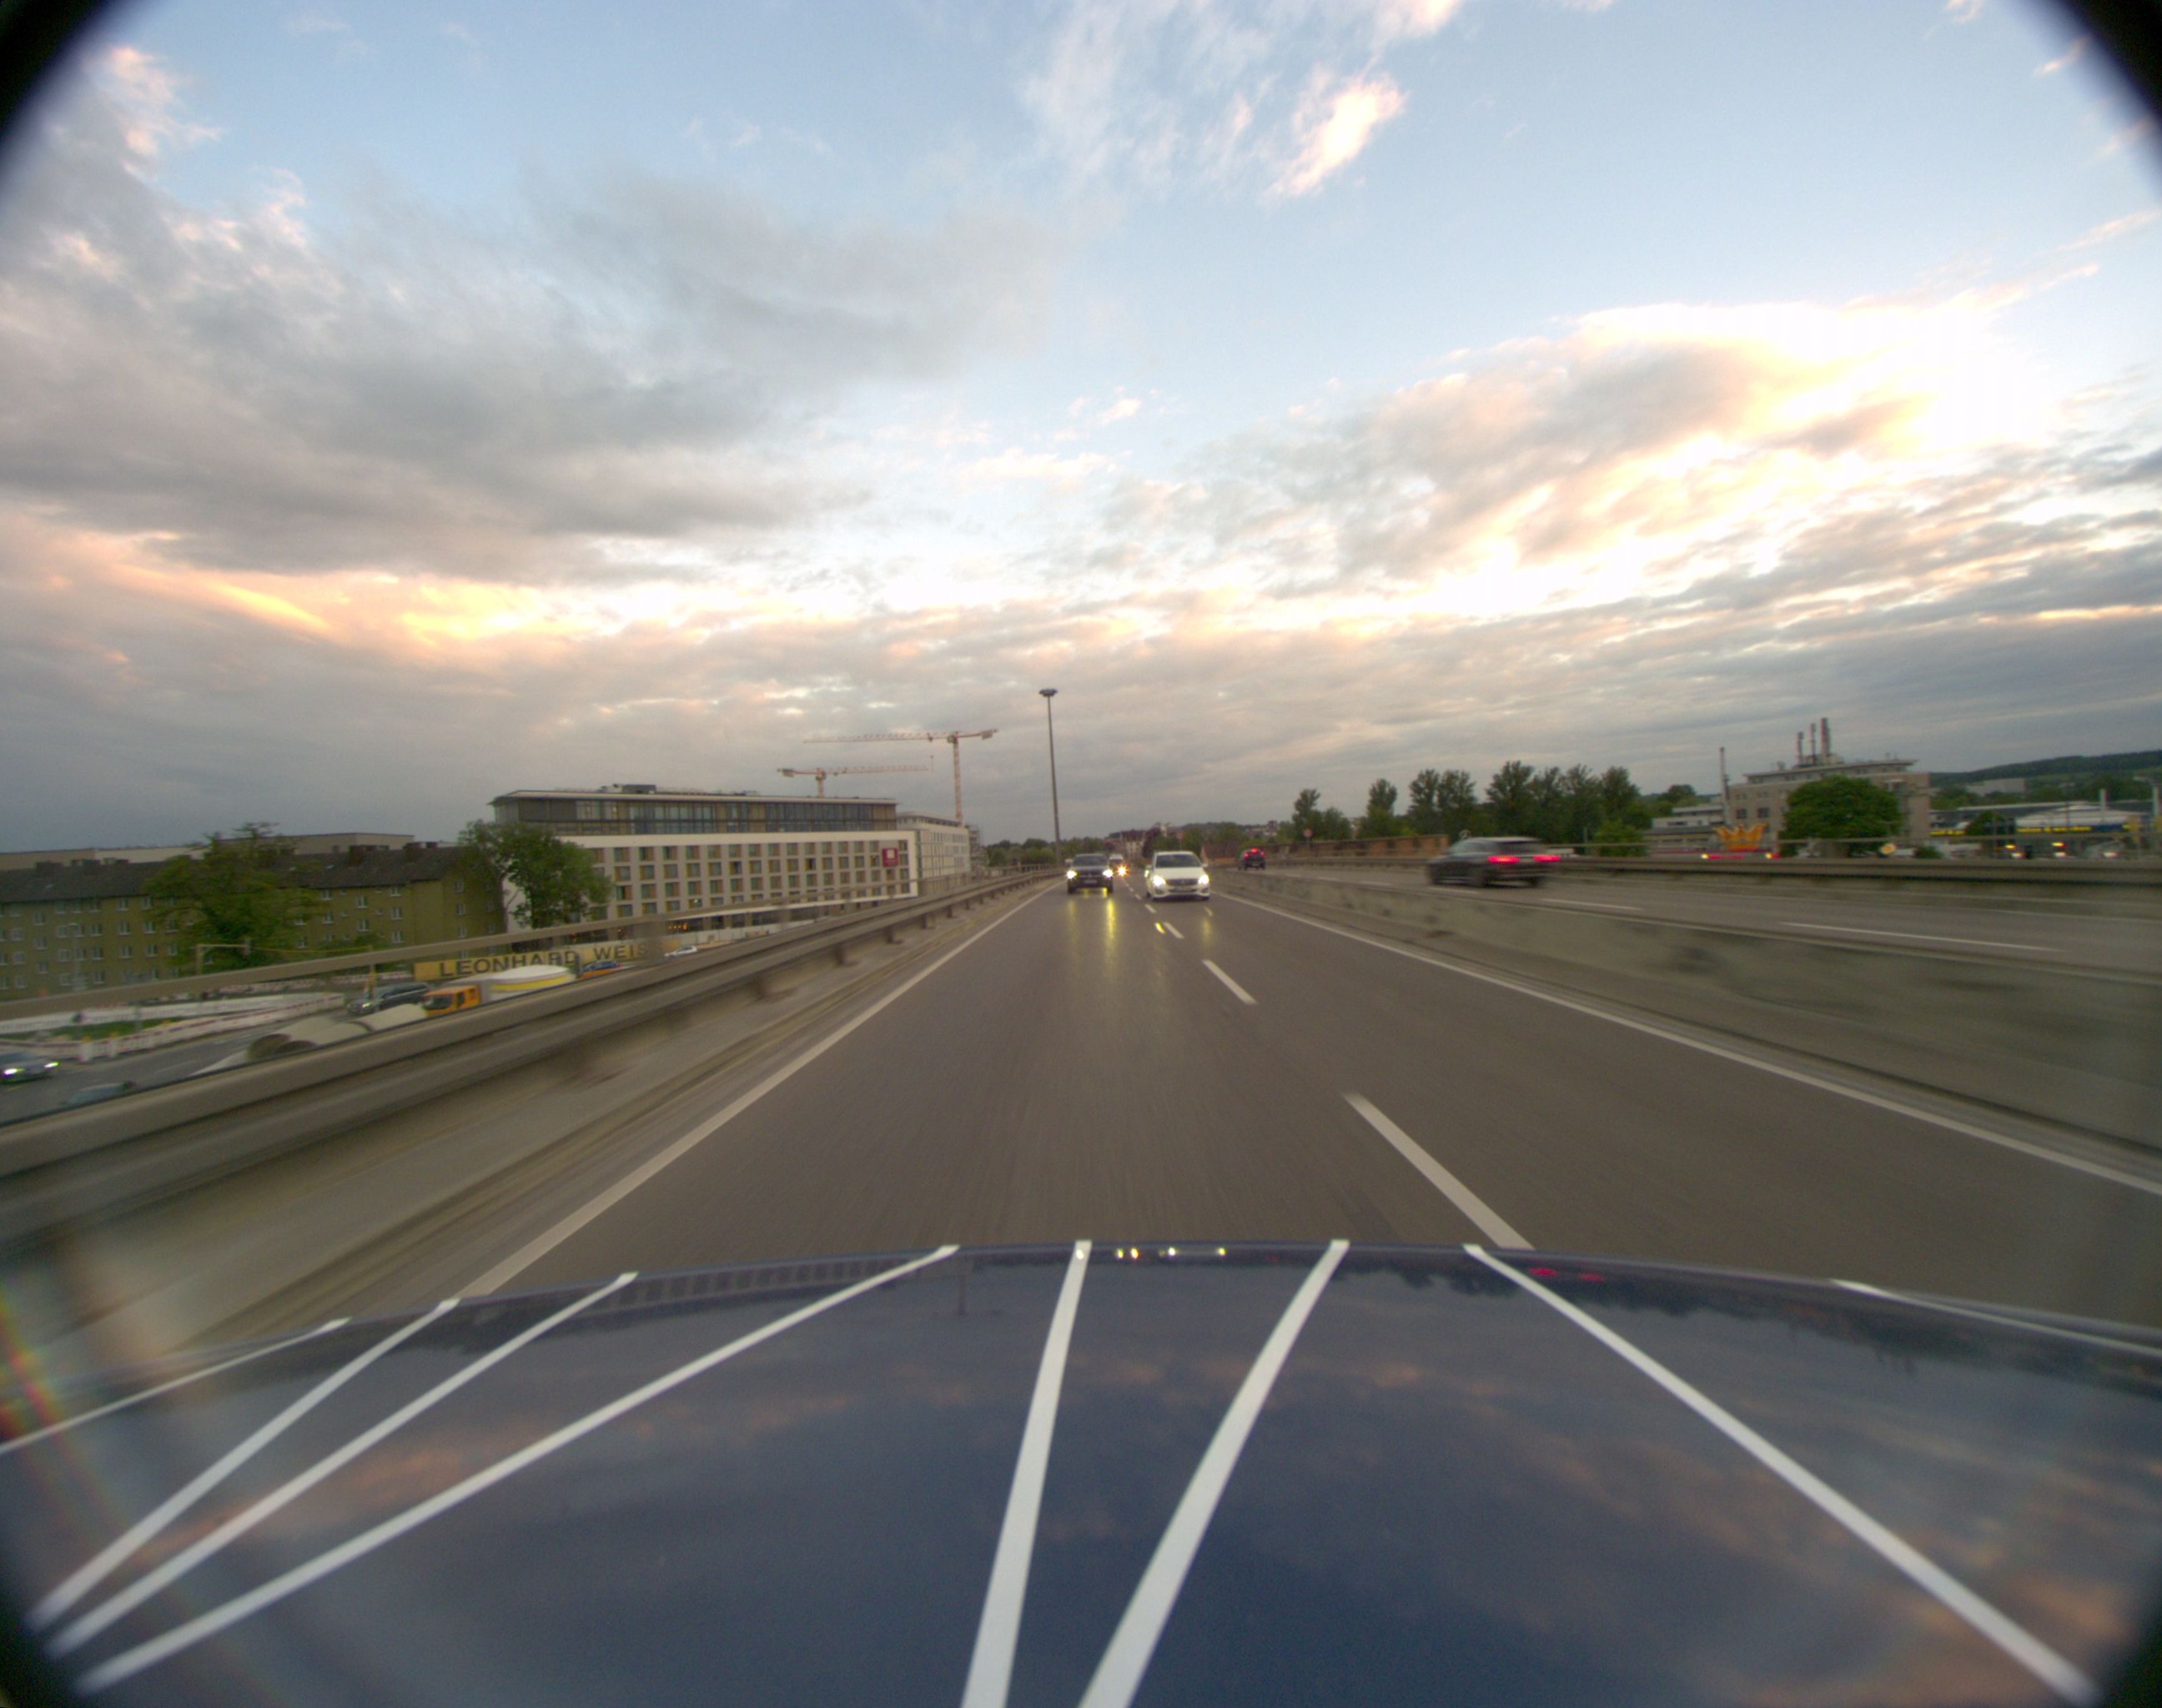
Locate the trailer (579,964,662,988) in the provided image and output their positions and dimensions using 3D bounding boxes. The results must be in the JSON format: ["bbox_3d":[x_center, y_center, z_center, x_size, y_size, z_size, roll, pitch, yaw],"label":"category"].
[{"bbox_3d":[-40.672,10.782,67.252,5.877,1.340,2.024,-2,1,-18],"label":"trailer"}]

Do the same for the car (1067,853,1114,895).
[{"bbox_3d":[0.425,0.805,31.865,1.823,1.602,4.213,-1,0,2],"label":"car"}]

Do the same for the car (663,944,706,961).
[{"bbox_3d":[-45.277,11.218,86.816,4.007,1.433,1.909,-3,-3,-38],"label":"car"}]

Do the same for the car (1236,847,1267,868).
[{"bbox_3d":[13.694,0.247,61.256,1.661,1.584,4.043,-2,0,2],"label":"car"}]

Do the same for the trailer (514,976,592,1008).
[{"bbox_3d":[-42.915,11.202,61.940,1.998,1.339,5.874,-8,-1,1],"label":"trailer"}]

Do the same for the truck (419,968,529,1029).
[{"bbox_3d":[-43.277,10.205,54.540,2.163,2.930,7.335,-5,-1,-4],"label":"truck"}]

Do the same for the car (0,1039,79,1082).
[{"bbox_3d":[-57.019,11.104,40.988,4.095,1.710,1.804,-2,3,11],"label":"car"}]

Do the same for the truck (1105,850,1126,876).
[{"bbox_3d":[6.302,1.612,137.291,3.164,4.369,8.797,-2,0,7],"label":"truck"}]

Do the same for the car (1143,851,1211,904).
[{"bbox_3d":[3.072,0.747,25.216,1.695,1.528,4.784,-2,-1,1],"label":"car"}]

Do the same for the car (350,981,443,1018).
[{"bbox_3d":[-53.316,11.305,59.319,1.997,1.865,5.099,-7,-3,13],"label":"car"}]

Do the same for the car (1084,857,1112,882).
[{"bbox_3d":[1.236,1.121,55.264,1.891,1.641,4.345,-3,-1,1],"label":"car"}]

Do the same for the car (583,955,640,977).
[{"bbox_3d":[-46.595,11.119,75.422,4.602,1.608,1.996,-3,-4,-35],"label":"car"}]

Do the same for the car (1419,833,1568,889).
[{"bbox_3d":[12.429,0.223,23.325,1.833,1.465,4.901,-2,-1,-1],"label":"car"}]
